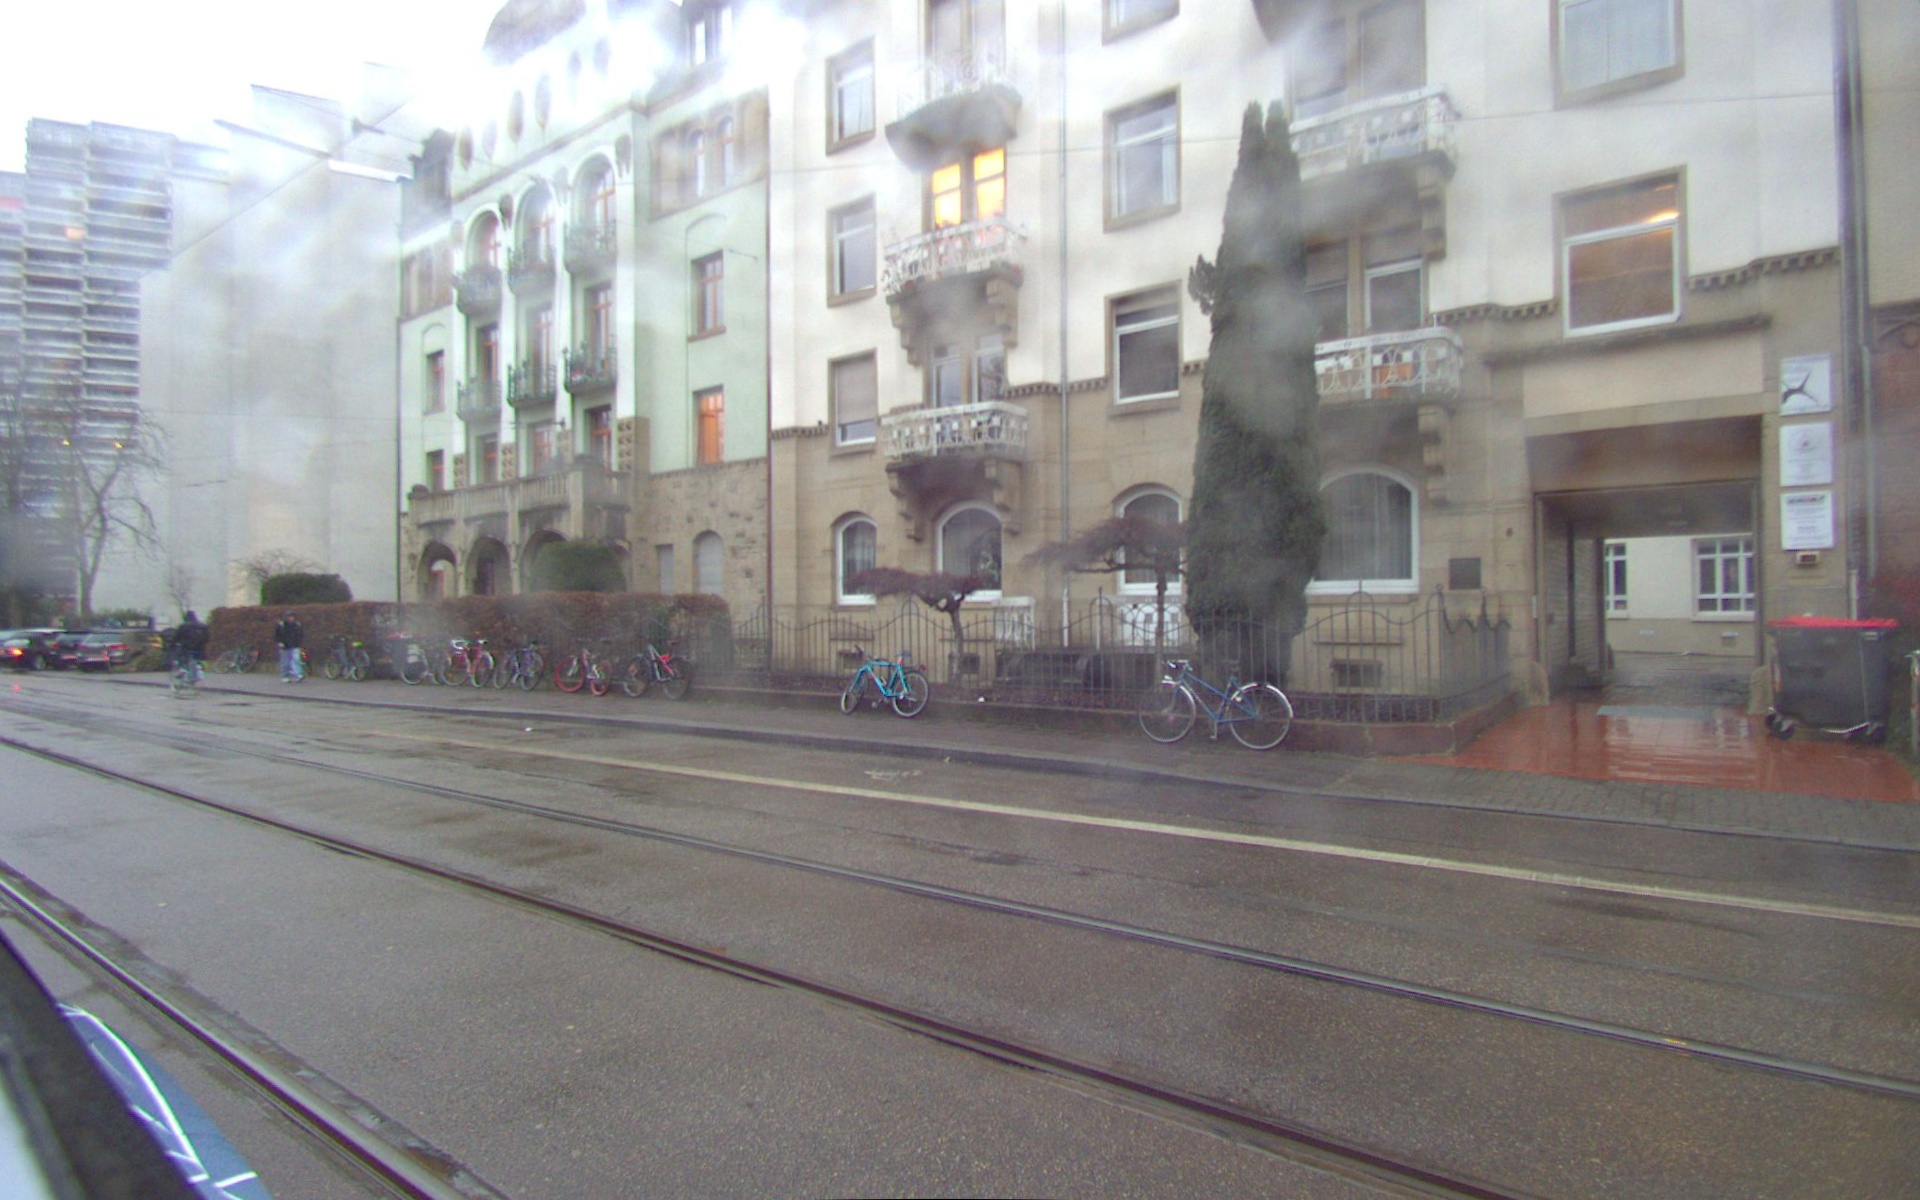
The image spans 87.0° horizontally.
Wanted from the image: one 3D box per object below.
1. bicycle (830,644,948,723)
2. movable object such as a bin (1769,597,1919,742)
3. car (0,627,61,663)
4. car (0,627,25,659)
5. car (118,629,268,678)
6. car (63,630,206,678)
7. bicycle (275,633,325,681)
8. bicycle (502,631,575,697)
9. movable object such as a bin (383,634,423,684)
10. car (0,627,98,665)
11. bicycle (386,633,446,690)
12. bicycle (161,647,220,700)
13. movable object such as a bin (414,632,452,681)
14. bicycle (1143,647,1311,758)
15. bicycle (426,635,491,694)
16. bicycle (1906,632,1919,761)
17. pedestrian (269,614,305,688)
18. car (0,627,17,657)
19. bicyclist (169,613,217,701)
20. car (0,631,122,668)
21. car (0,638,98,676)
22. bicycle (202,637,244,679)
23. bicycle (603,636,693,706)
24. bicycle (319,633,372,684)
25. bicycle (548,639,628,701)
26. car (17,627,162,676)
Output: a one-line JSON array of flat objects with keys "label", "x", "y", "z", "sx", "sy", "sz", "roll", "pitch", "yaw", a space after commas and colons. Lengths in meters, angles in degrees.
[{"label": "bicycle", "x": -1.006, "y": 1.135, "z": 14.094, "sx": 1.661, "sy": 1.010, "sz": 0.617, "roll": -2, "pitch": -2, "yaw": 40}, {"label": "movable object such as a bin", "x": 9.385, "y": 0.697, "z": 10.779, "sx": 1.166, "sy": 1.390, "sz": 1.092, "roll": -2, "pitch": 1, "yaw": 39}, {"label": "car", "x": -44.719, "y": 2.116, "z": 47.306, "sx": 1.843, "sy": 1.608, "sz": 3.999, "roll": -1, "pitch": -1, "yaw": 0}, {"label": "car", "x": -49.975, "y": 2.222, "z": 51.090, "sx": 1.843, "sy": 1.608, "sz": 3.999, "roll": -1, "pitch": -1, "yaw": 0}, {"label": "car", "x": -26.108, "y": 1.772, "z": 34.630, "sx": 1.847, "sy": 1.505, "sz": 3.989, "roll": -1, "pitch": -1, "yaw": 8}, {"label": "car", "x": -28.645, "y": 1.828, "z": 35.298, "sx": 1.740, "sy": 1.497, "sz": 3.999, "roll": -1, "pitch": -1, "yaw": 0}, {"label": "bicycle", "x": -17.188, "y": 1.470, "z": 26.352, "sx": 1.661, "sy": 1.221, "sz": 0.617, "roll": -2, "pitch": -2, "yaw": 40}, {"label": "bicycle", "x": -8.260, "y": 1.230, "z": 19.793, "sx": 1.661, "sy": 1.221, "sz": 0.617, "roll": -2, "pitch": -2, "yaw": 40}, {"label": "movable object such as a bin", "x": -13.543, "y": 1.425, "z": 24.600, "sx": 0.674, "sy": 1.173, "sz": 0.651, "roll": -2, "pitch": -2, "yaw": 40}, {"label": "car", "x": -42.092, "y": 2.097, "z": 46.338, "sx": 1.843, "sy": 1.608, "sz": 3.999, "roll": -1, "pitch": -1, "yaw": 0}, {"label": "bicycle", "x": -12.159, "y": 1.352, "z": 22.612, "sx": 1.661, "sy": 1.221, "sz": 0.617, "roll": -2, "pitch": -2, "yaw": 40}, {"label": "bicycle", "x": -17.072, "y": 1.608, "z": 22.445, "sx": 1.946, "sy": 1.101, "sz": 0.617, "roll": -2, "pitch": -2, "yaw": 40}, {"label": "movable object such as a bin", "x": -13.096, "y": 1.399, "z": 25.147, "sx": 0.674, "sy": 1.173, "sz": 0.617, "roll": -2, "pitch": -2, "yaw": 40}, {"label": "bicycle", "x": 2.895, "y": 1.084, "z": 11.080, "sx": 1.661, "sy": 1.101, "sz": 0.617, "roll": -2, "pitch": -2, "yaw": 40}, {"label": "bicycle", "x": -10.559, "y": 1.332, "z": 21.296, "sx": 1.661, "sy": 1.173, "sz": 0.617, "roll": -2, "pitch": -2, "yaw": 40}, {"label": "bicycle", "x": 8.685, "y": 0.896, "z": 8.622, "sx": 0.694, "sy": 1.114, "sz": 2.326, "roll": -2, "pitch": 1, "yaw": 38}, {"label": "pedestrian", "x": -16.350, "y": 1.218, "z": 24.582, "sx": 0.644, "sy": 1.738, "sz": 0.567, "roll": 0, "pitch": 1, "yaw": 41}, {"label": "car", "x": -52.306, "y": 2.266, "z": 53.143, "sx": 1.843, "sy": 1.608, "sz": 3.999, "roll": -1, "pitch": -1, "yaw": 0}, {"label": "bicyclist", "x": -16.896, "y": 1.241, "z": 22.288, "sx": 0.990, "sy": 1.891, "sz": 0.617, "roll": -2, "pitch": -2, "yaw": 40}, {"label": "car", "x": -39.190, "y": 2.135, "z": 44.245, "sx": 1.843, "sy": 1.460, "sz": 3.999, "roll": -1, "pitch": -1, "yaw": 0}, {"label": "car", "x": -33.209, "y": 1.995, "z": 36.186, "sx": 1.687, "sy": 1.262, "sz": 3.666, "roll": 0, "pitch": -2, "yaw": -1}, {"label": "bicycle", "x": -21.456, "y": 1.665, "z": 29.456, "sx": 1.661, "sy": 1.173, "sz": 0.617, "roll": -2, "pitch": -1, "yaw": 40}, {"label": "bicycle", "x": -5.395, "y": 1.189, "z": 17.442, "sx": 1.781, "sy": 1.134, "sz": 0.617, "roll": -2, "pitch": -2, "yaw": 40}, {"label": "bicycle", "x": -15.204, "y": 1.428, "z": 25.037, "sx": 1.661, "sy": 1.221, "sz": 0.617, "roll": -2, "pitch": -2, "yaw": 40}, {"label": "bicycle", "x": -6.888, "y": 1.266, "z": 18.691, "sx": 1.725, "sy": 1.073, "sz": 0.617, "roll": -2, "pitch": -2, "yaw": 40}, {"label": "car", "x": -31.406, "y": 1.811, "z": 36.663, "sx": 1.843, "sy": 1.608, "sz": 3.999, "roll": -1, "pitch": -1, "yaw": 0}]
